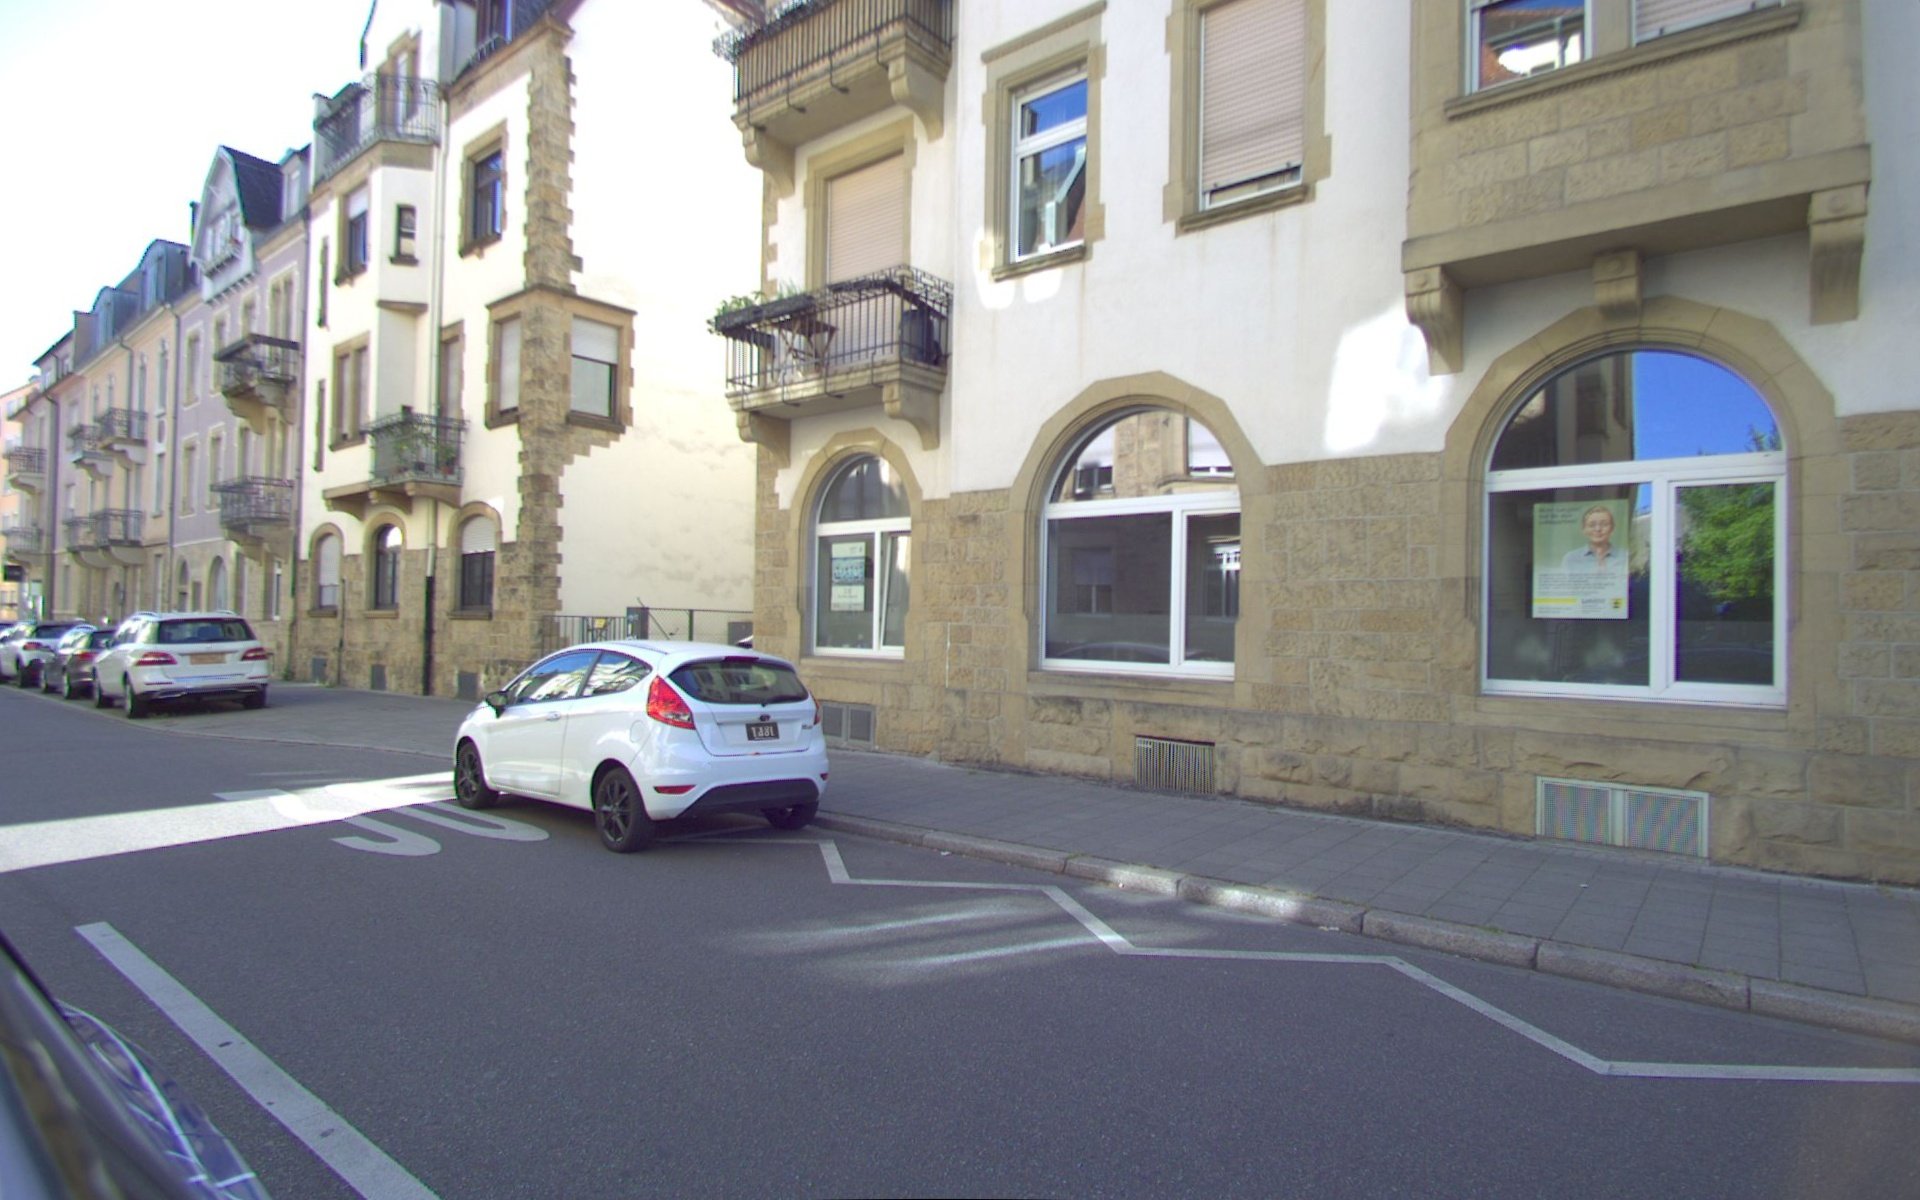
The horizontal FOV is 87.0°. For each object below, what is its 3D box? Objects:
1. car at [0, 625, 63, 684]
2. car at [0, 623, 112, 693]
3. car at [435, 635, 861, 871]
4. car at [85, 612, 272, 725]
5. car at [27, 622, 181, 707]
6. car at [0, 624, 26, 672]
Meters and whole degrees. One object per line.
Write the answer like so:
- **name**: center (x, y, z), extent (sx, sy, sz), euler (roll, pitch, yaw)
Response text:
- **car**: center (-27.161, 1.516, 28.871), extent (4.317, 1.511, 1.833), euler (-1, 0, 41)
- **car**: center (-22.953, 1.383, 25.432), extent (4.319, 1.520, 1.866), euler (-1, 0, 41)
- **car**: center (-2.642, 1.046, 8.178), extent (3.642, 1.469, 1.634), euler (-2, -5, 42)
- **car**: center (-13.965, 1.099, 18.004), extent (4.209, 1.740, 1.866), euler (-1, 0, 41)
- **car**: center (-18.449, 1.290, 21.750), extent (4.319, 1.519, 1.866), euler (-1, 2, 41)
- **car**: center (-33.145, 1.606, 34.219), extent (4.319, 1.520, 1.866), euler (-1, 0, 41)
